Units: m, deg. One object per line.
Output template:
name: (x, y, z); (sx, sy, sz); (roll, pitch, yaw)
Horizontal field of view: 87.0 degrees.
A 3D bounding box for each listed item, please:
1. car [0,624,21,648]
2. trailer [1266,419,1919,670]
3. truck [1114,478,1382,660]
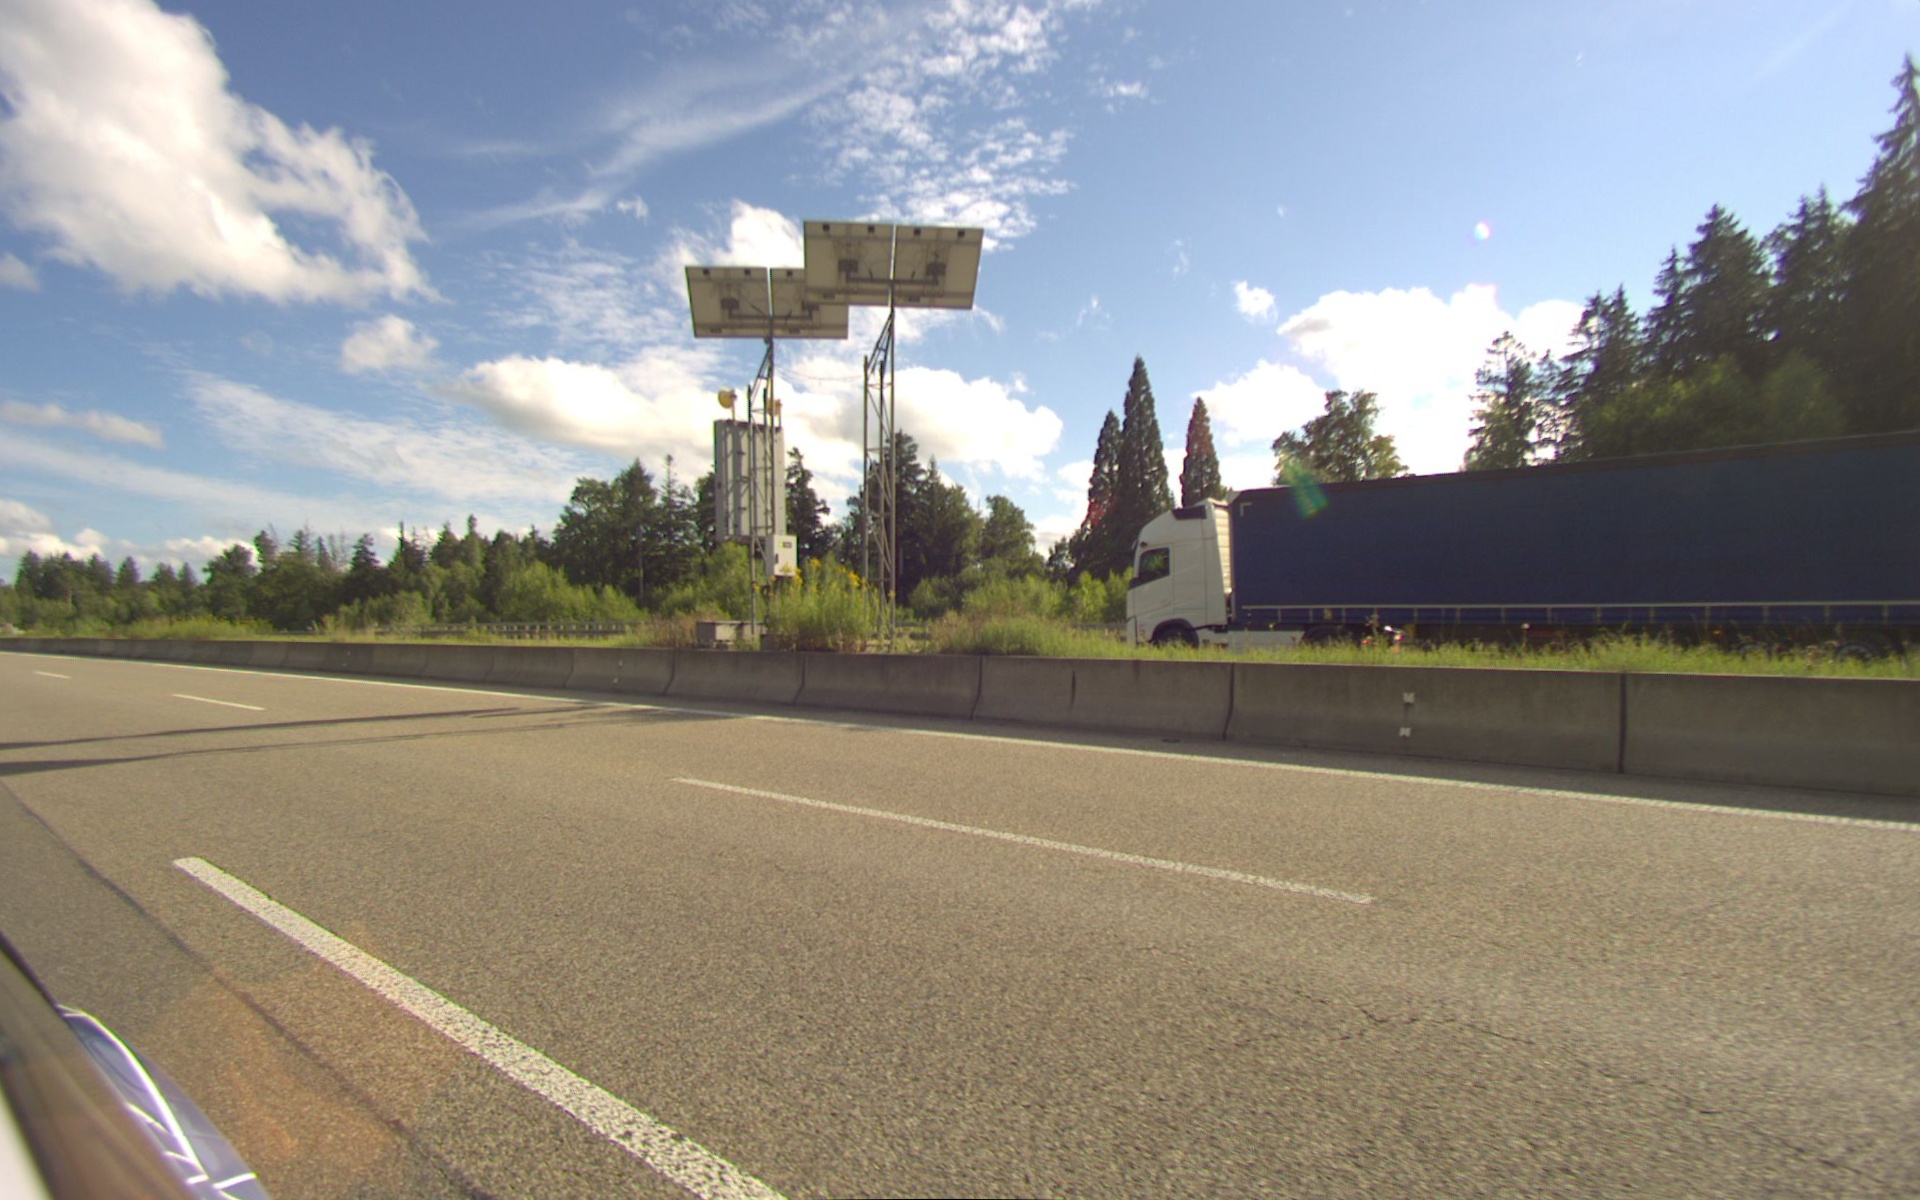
car: (-103.643, 3.912, 109.346); (6.187, 2.335, 2.287); (-2, 2, 40)
trailer: (12.377, -0.757, 18.442); (13.271, 3.757, 2.255); (-2, -1, 42)
truck: (6.602, -0.591, 23.674); (5.530, 3.757, 2.255); (-2, -1, 42)
